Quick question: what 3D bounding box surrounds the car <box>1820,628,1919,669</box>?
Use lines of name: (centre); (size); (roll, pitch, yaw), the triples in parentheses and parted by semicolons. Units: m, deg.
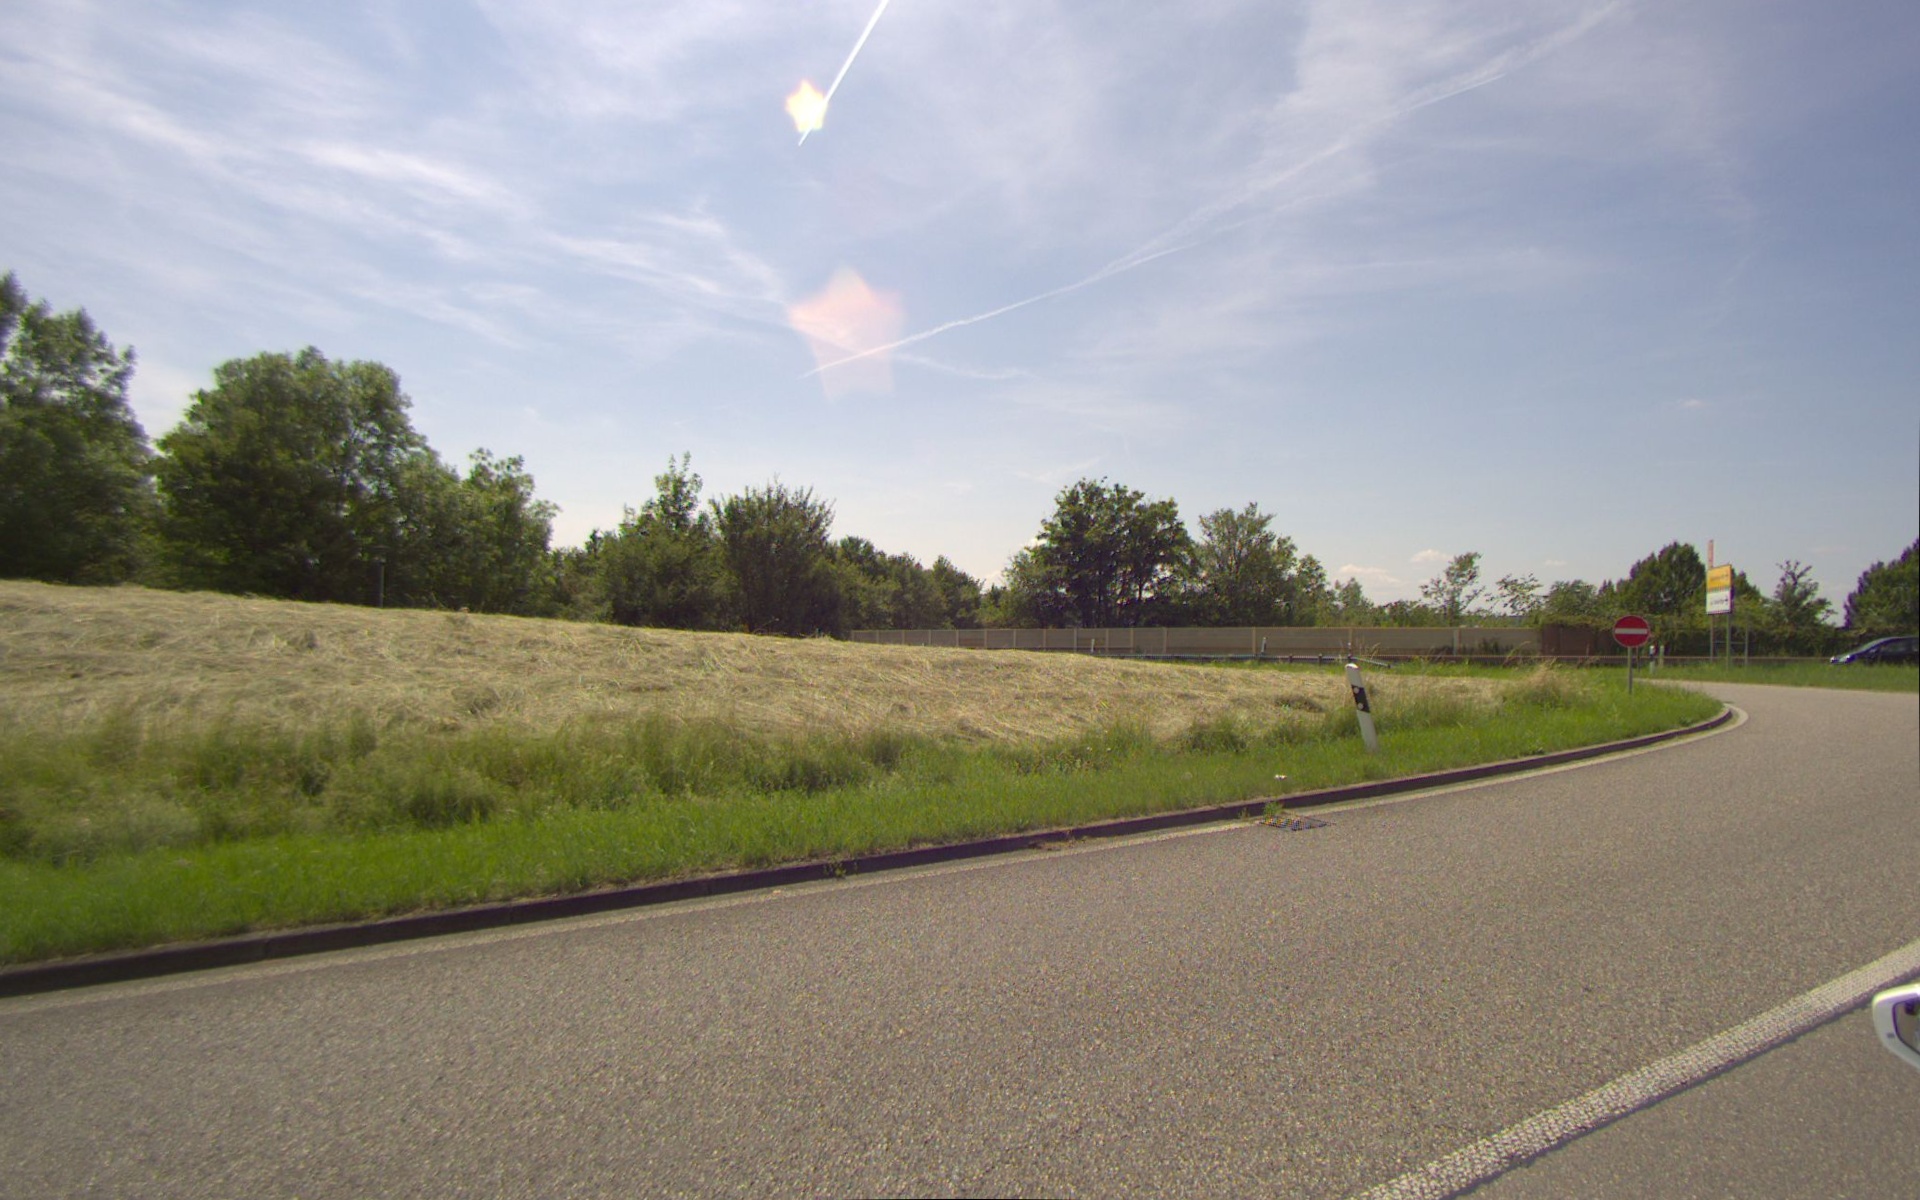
car: (37.113, 1.912, 40.006); (4.031, 1.559, 1.753); (-1, -1, 28)
